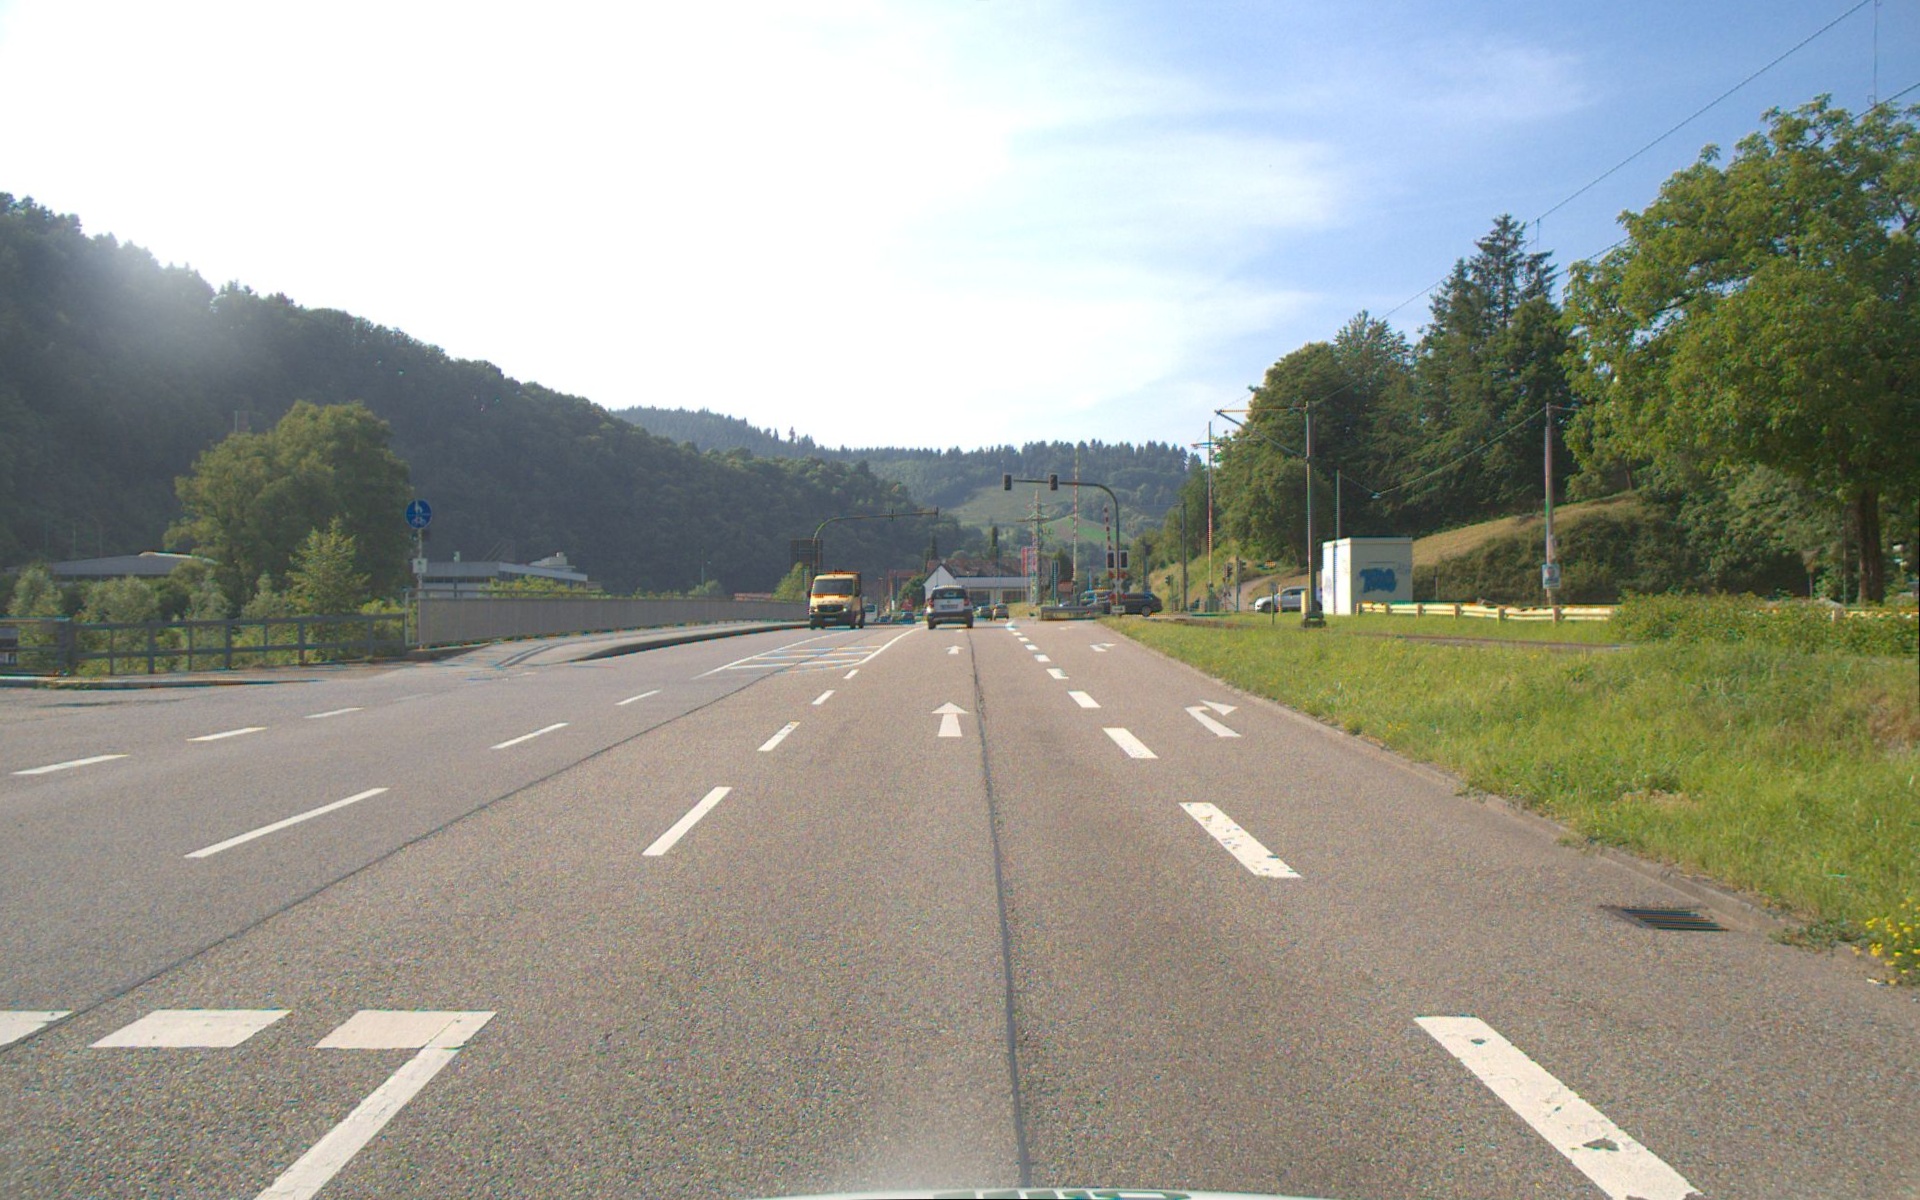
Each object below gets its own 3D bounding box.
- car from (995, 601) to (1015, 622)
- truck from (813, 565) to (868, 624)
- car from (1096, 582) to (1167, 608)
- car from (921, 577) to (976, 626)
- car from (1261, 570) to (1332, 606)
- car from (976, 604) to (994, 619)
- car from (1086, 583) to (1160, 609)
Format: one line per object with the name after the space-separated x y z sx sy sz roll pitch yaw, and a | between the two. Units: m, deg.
4.865 1.230 177.975 1.953 2.048 4.000 -2 1 -1 | car
-5.118 -0.280 71.588 1.953 2.384 5.698 -1 1 0 | truck
10.054 -0.300 96.869 3.902 1.378 1.879 -1 1 15 | car
-0.430 0.040 65.071 1.952 1.753 3.991 -3 0 2 | car
19.436 -0.696 95.502 3.902 1.914 1.879 -1 1 15 | car
2.886 1.340 192.063 1.953 1.646 4.000 -2 1 -1 | car
9.318 -0.253 94.472 3.902 1.378 1.879 -1 1 15 | car
